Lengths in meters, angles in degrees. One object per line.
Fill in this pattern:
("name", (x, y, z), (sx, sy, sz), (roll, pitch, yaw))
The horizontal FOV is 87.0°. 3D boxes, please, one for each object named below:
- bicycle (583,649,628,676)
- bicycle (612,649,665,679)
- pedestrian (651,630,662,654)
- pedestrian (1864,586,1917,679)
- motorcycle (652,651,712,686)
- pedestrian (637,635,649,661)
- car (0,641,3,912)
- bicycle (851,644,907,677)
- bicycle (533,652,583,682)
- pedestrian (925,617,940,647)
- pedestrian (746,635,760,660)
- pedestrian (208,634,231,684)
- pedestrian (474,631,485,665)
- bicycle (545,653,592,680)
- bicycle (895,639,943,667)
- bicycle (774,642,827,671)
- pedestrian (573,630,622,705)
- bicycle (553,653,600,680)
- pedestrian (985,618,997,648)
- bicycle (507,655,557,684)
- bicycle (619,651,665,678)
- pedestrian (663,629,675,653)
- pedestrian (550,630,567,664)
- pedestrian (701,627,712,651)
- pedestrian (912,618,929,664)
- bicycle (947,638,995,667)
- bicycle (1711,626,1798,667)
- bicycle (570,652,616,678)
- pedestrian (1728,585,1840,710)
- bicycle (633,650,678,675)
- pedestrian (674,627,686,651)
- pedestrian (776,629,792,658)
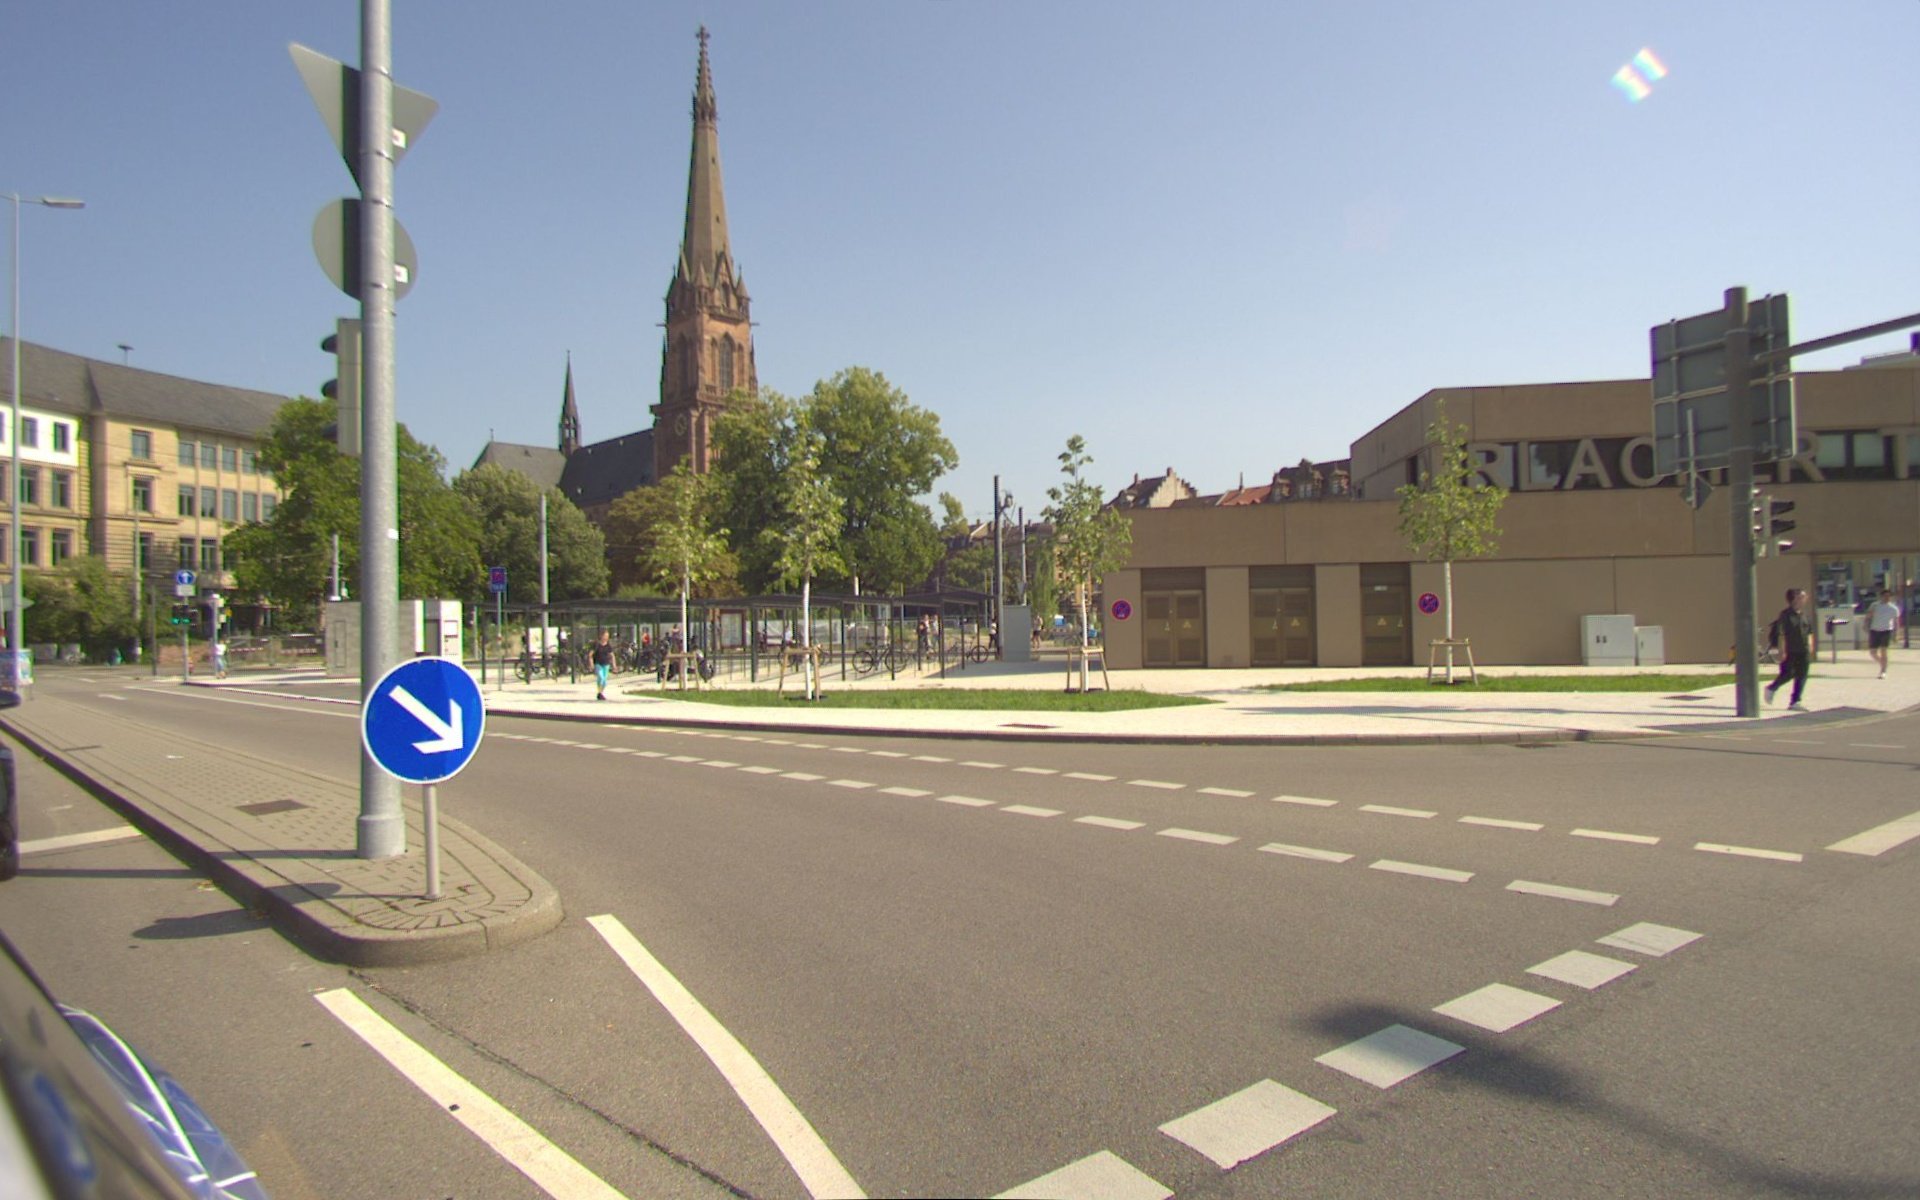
("bicycle", (-13.336, 2.351, 38.061), (1.570, 0.985, 0.451), (-2, 0, 10))
("bicycle", (-11.209, 2.246, 35.299), (1.694, 0.994, 0.532), (-2, -2, 10))
("pedestrian", (-16.076, 2.202, 53.586), (0.379, 1.233, 0.438), (-3, 0, 10))
("pedestrian", (18.863, 0.656, 20.512), (0.562, 1.847, 0.695), (0, -2, -43))
("motorcycle", (-8.562, 2.108, 31.203), (1.726, 1.017, 0.541), (-2, -2, 10))
("pedestrian", (-16.773, 2.534, 53.565), (0.411, 1.328, 0.392), (-3, 0, 14))
("car", (-7.504, 1.009, 6.534), (1.799, 1.451, 4.876), (0, -2, -45))
("bicycle", (-2.626, 1.961, 32.772), (1.726, 1.017, 0.400), (-2, -2, 10))
("bicycle", (-13.695, 2.289, 34.485), (1.570, 0.975, 0.420), (-2, -2, 10))
("pedestrian", (-1.370, 1.586, 50.635), (0.563, 1.432, 0.468), (-3, 0, 11))
("pedestrian", (-10.537, 2.417, 51.592), (0.568, 1.206, 0.466), (-2, -2, 10))
("pedestrian", (-30.564, 2.424, 41.750), (0.722, 2.029, 0.715), (0, -2, -40))
("pedestrian", (-25.182, 2.507, 53.044), (0.510, 1.720, 0.505), (0, -1, -23))
("bicycle", (-13.608, 2.312, 35.178), (1.570, 0.899, 0.400), (-2, -2, 10))
("bicycle", (-1.519, 1.977, 37.801), (1.726, 1.017, 0.400), (-2, -2, 10))
("bicycle", (-5.815, 2.073, 36.981), (1.854, 1.017, 0.460), (-2, -2, 10))
("pedestrian", (-7.826, 1.440, 21.843), (0.663, 1.577, 0.747), (-2, -3, 26))
("bicycle", (-13.554, 2.354, 35.739), (1.570, 0.899, 0.409), (-2, -2, 10))
("pedestrian", (1.528, 1.609, 49.742), (0.464, 1.432, 0.567), (-3, 0, 11))
("bicycle", (-14.098, 2.295, 33.326), (1.570, 0.899, 0.400), (-2, -2, 10))
("bicycle", (-11.421, 2.314, 36.324), (1.570, 0.899, 0.409), (-2, -2, 10))
("pedestrian", (-15.506, 2.169, 53.920), (0.379, 1.233, 0.438), (-3, 0, 10))
("pedestrian", (-21.035, 2.466, 53.023), (0.389, 1.762, 0.707), (-3, -2, 41))
("pedestrian", (-13.478, 2.066, 53.854), (0.379, 1.233, 0.438), (-3, 0, 10))
("pedestrian", (-1.559, 1.619, 39.944), (0.585, 1.815, 0.333), (-1, -2, 5))
("bicycle", (0.411, 1.931, 37.210), (1.724, 1.028, 0.473), (-2, -2, 8))
("bicycle", (20.028, 1.168, 25.542), (1.594, 0.963, 0.659), (-1, 0, 8))
("bicycle", (-13.410, 2.363, 36.961), (1.570, 0.899, 0.400), (-2, -2, 10))
("pedestrian", (12.709, 0.717, 15.630), (0.717, 1.854, 1.086), (-1, -2, -27))
("bicycle", (-11.359, 2.324, 37.736), (1.570, 0.899, 0.409), (-2, -2, 10))
("pedestrian", (-14.847, 2.075, 53.672), (0.379, 1.233, 0.438), (-3, 0, 10))
("pedestrian", (-8.895, 2.203, 51.225), (0.636, 1.405, 0.660), (-2, -2, 7))
